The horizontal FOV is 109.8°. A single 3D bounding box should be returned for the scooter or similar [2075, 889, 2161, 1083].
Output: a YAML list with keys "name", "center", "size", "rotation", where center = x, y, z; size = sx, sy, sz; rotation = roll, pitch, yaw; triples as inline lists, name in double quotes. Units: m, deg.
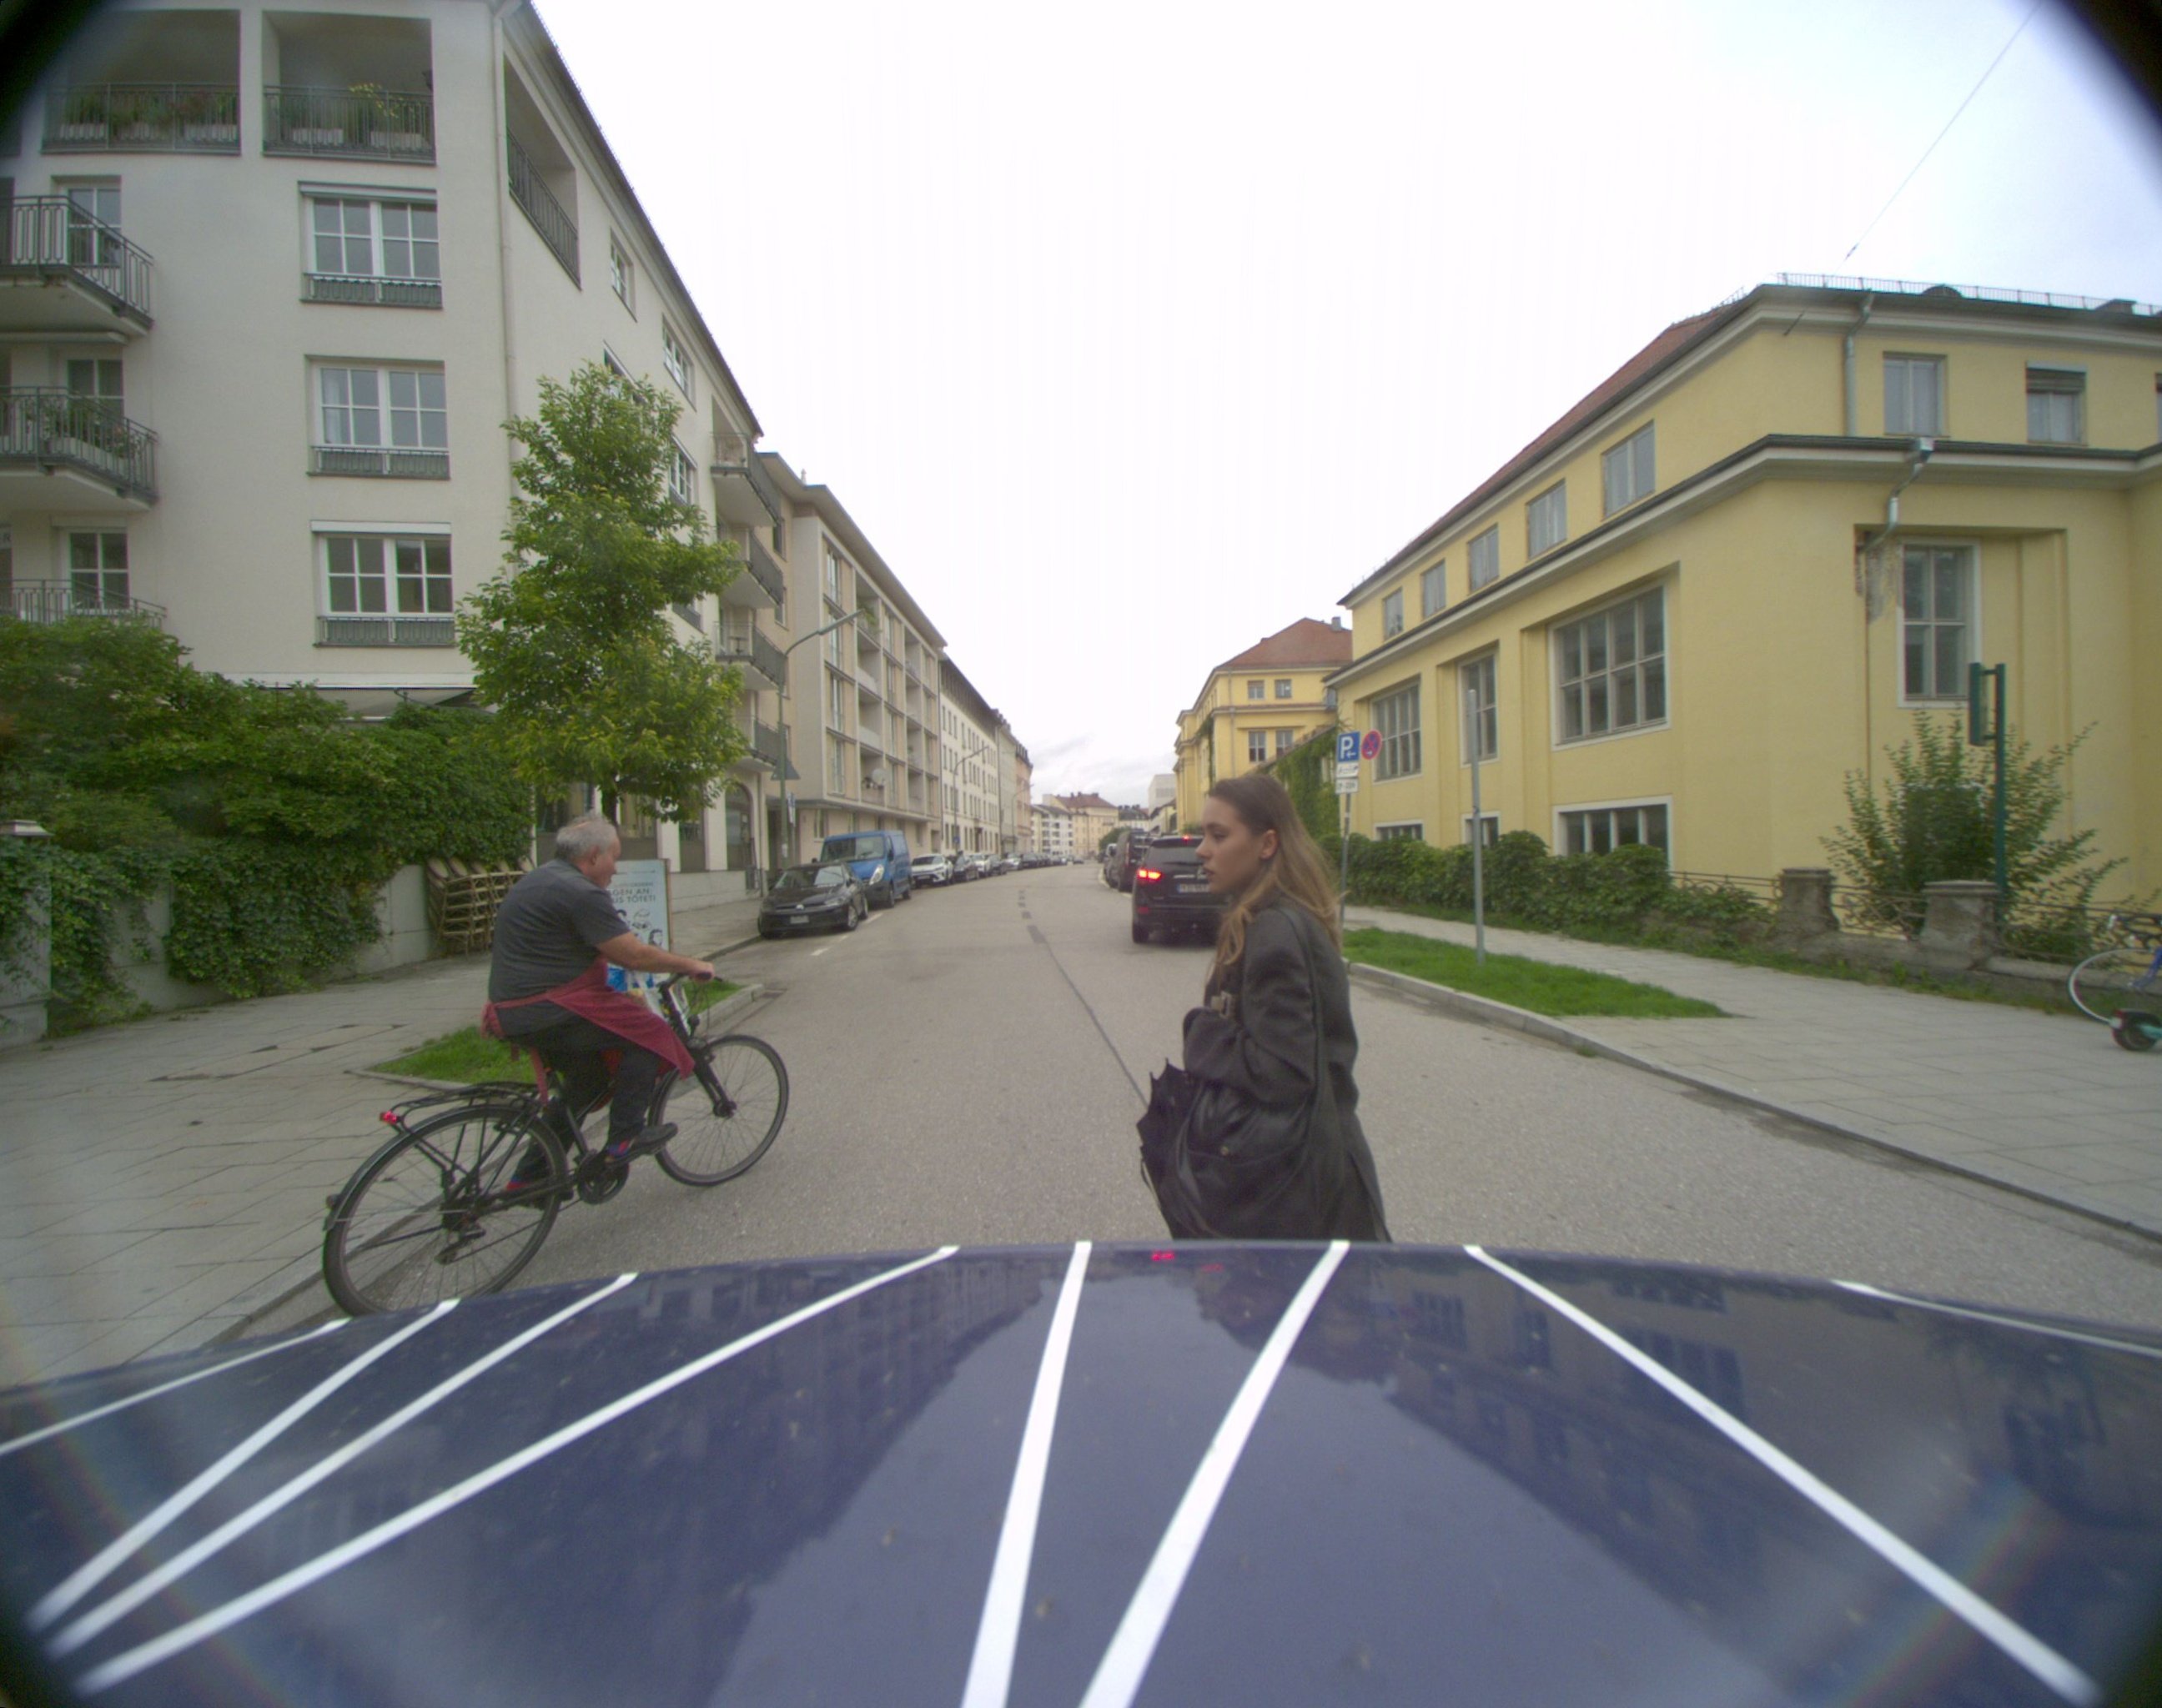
- name: "scooter or similar"
  center: [7.643, 0.869, 5.102]
  size: [1.263, 1.237, 0.394]
  rotation: [-1, 3, 5]

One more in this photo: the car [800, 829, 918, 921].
- name: "car"
  center: [-6.387, 0.468, 22.535]
  size: [2.115, 2.201, 5.024]
  rotation: [-6, 3, -4]

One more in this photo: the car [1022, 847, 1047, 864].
- name: "car"
  center: [-4.283, 0.117, 70.178]
  size: [1.878, 1.439, 4.700]
  rotation: [-3, 0, 1]

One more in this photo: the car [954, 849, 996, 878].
- name: "car"
  center: [-6.140, 0.521, 44.447]
  size: [1.706, 1.460, 4.119]
  rotation: [-6, 0, 0]

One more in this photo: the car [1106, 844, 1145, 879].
- name: "car"
  center: [2.125, 0.336, 37.619]
  size: [1.706, 1.597, 4.491]
  rotation: [2, 0, 1]

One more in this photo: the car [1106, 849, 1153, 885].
- name: "car"
  center: [1.998, 0.514, 32.468]
  size: [1.711, 1.357, 4.001]
  rotation: [3, 0, 0]

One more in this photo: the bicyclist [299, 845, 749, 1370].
- name: "bicyclist"
  center: [-2.043, 0.777, 2.939]
  size: [0.876, 1.600, 1.051]
  rotation: [-1, 1, 18]

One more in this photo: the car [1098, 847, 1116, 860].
- name: "car"
  center: [4.995, -0.074, 147.682]
  size: [2.848, 2.536, 6.890]
  rotation: [-1, 0, -4]

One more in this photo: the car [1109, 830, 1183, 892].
- name: "car"
  center: [2.193, 0.234, 26.977]
  size: [1.931, 1.967, 4.621]
  rotation: [1, 0, -3]

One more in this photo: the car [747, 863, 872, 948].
- name: "car"
  center: [-5.657, 0.982, 16.296]
  size: [1.720, 1.387, 3.996]
  rotation: [-5, 1, -9]

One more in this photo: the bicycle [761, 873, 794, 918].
- name: "bicycle"
  center: [-7.835, 1.050, 19.662]
  size: [0.567, 1.063, 1.785]
  rotation: [-1, 0, -15]

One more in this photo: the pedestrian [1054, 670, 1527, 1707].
- name: "pedestrian"
  center: [0.308, 0.608, 1.390]
  size: [0.544, 1.687, 0.665]
  rotation: [0, 1, -18]

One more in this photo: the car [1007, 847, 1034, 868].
- name: "car"
  center: [-4.780, 0.263, 60.506]
  size: [1.618, 1.508, 3.380]
  rotation: [-5, 0, 3]

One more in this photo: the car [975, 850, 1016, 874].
- name: "car"
  center: [-5.504, 0.495, 49.466]
  size: [1.831, 1.373, 4.492]
  rotation: [-4, 0, 3]

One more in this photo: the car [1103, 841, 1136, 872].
- name: "car"
  center: [2.425, 0.166, 48.317]
  size: [1.897, 1.788, 4.881]
  rotation: [3, 0, 2]

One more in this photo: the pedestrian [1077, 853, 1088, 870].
- name: "pedestrian"
  center: [0.254, 1.342, 135.653]
  size: [1.929, 2.933, 2.025]
  rotation: [0, 0, 2]

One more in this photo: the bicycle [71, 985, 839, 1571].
- name: "bicycle"
  center: [-2.014, 1.226, 3.007]
  size: [0.877, 1.013, 2.193]
  rotation: [-1, 0, 18]

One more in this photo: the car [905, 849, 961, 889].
- name: "car"
  center: [-6.561, 0.644, 34.127]
  size: [1.780, 1.514, 4.302]
  rotation: [-5, 0, -4]

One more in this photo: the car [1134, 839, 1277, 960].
- name: "car"
  center: [1.963, 0.653, 13.171]
  size: [1.998, 1.709, 4.616]
  rotation: [-1, 0, 5]

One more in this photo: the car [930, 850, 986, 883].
- name: "car"
  center: [-6.270, 0.611, 39.264]
  size: [1.776, 1.421, 4.693]
  rotation: [-6, 0, 2]

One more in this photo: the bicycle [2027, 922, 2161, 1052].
- name: "bicycle"
  center: [8.316, 1.041, 5.771]
  size: [0.435, 0.888, 1.327]
  rotation: [-2, 3, -25]
